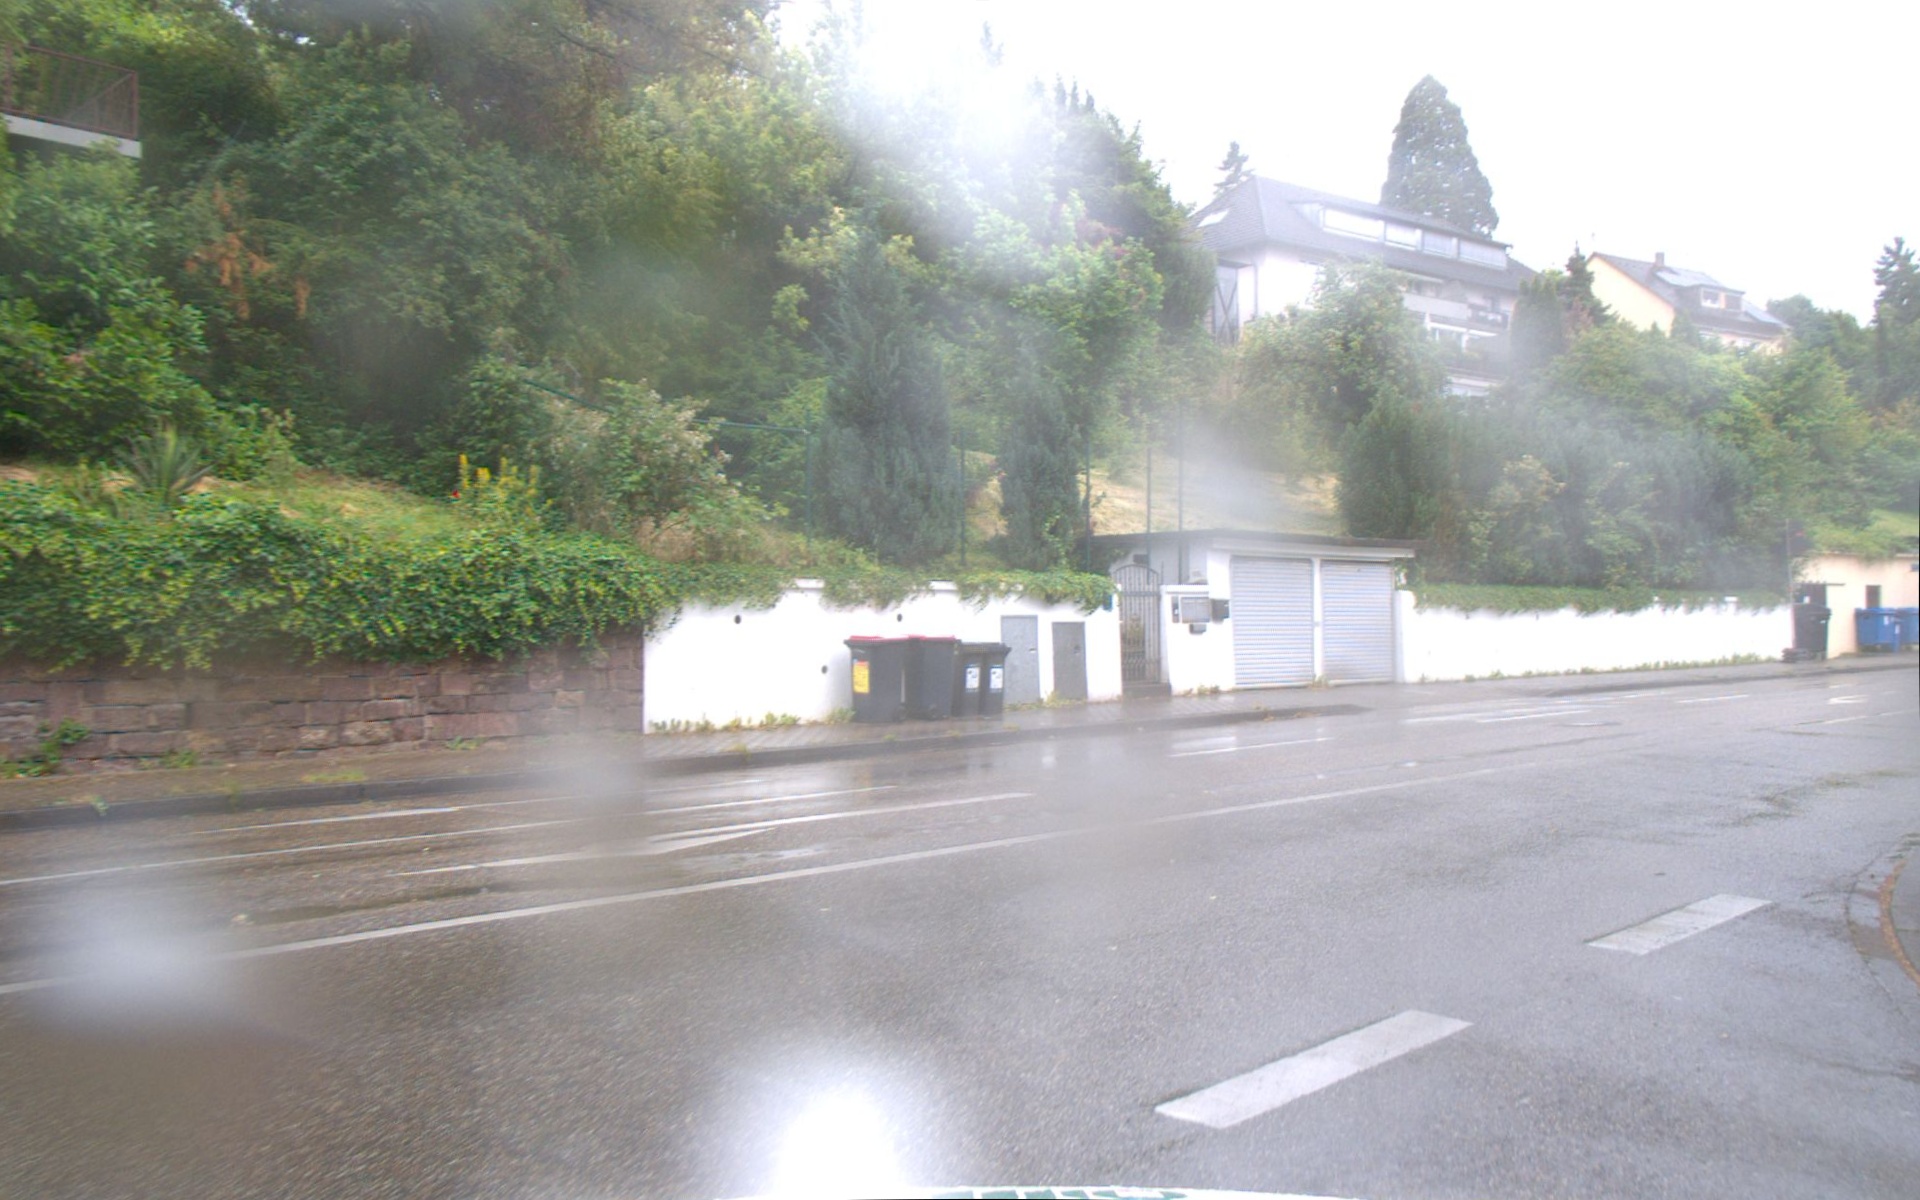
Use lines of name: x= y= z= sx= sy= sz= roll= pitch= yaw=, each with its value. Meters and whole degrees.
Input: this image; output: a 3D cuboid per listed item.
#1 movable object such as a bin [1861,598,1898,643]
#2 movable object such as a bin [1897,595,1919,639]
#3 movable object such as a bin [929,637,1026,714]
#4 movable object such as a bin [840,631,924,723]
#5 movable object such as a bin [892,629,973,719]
movable object such as a bin: x=28.217 y=0.632 z=50.755 sx=0.825 sy=1.359 sz=0.704 roll=-2 pitch=0 yaw=-37
movable object such as a bin: x=30.073 y=0.534 z=52.047 sx=0.825 sy=1.359 sz=0.704 roll=-2 pitch=0 yaw=-37
movable object such as a bin: x=0.230 y=0.974 z=21.548 sx=0.837 sy=0.932 sz=0.948 roll=-2 pitch=0 yaw=43
movable object such as a bin: x=-0.950 y=0.926 z=20.155 sx=0.677 sy=1.079 sz=0.749 roll=-2 pitch=-1 yaw=44
movable object such as a bin: x=-0.340 y=0.915 z=20.667 sx=0.625 sy=1.079 sz=0.788 roll=-2 pitch=-1 yaw=44
